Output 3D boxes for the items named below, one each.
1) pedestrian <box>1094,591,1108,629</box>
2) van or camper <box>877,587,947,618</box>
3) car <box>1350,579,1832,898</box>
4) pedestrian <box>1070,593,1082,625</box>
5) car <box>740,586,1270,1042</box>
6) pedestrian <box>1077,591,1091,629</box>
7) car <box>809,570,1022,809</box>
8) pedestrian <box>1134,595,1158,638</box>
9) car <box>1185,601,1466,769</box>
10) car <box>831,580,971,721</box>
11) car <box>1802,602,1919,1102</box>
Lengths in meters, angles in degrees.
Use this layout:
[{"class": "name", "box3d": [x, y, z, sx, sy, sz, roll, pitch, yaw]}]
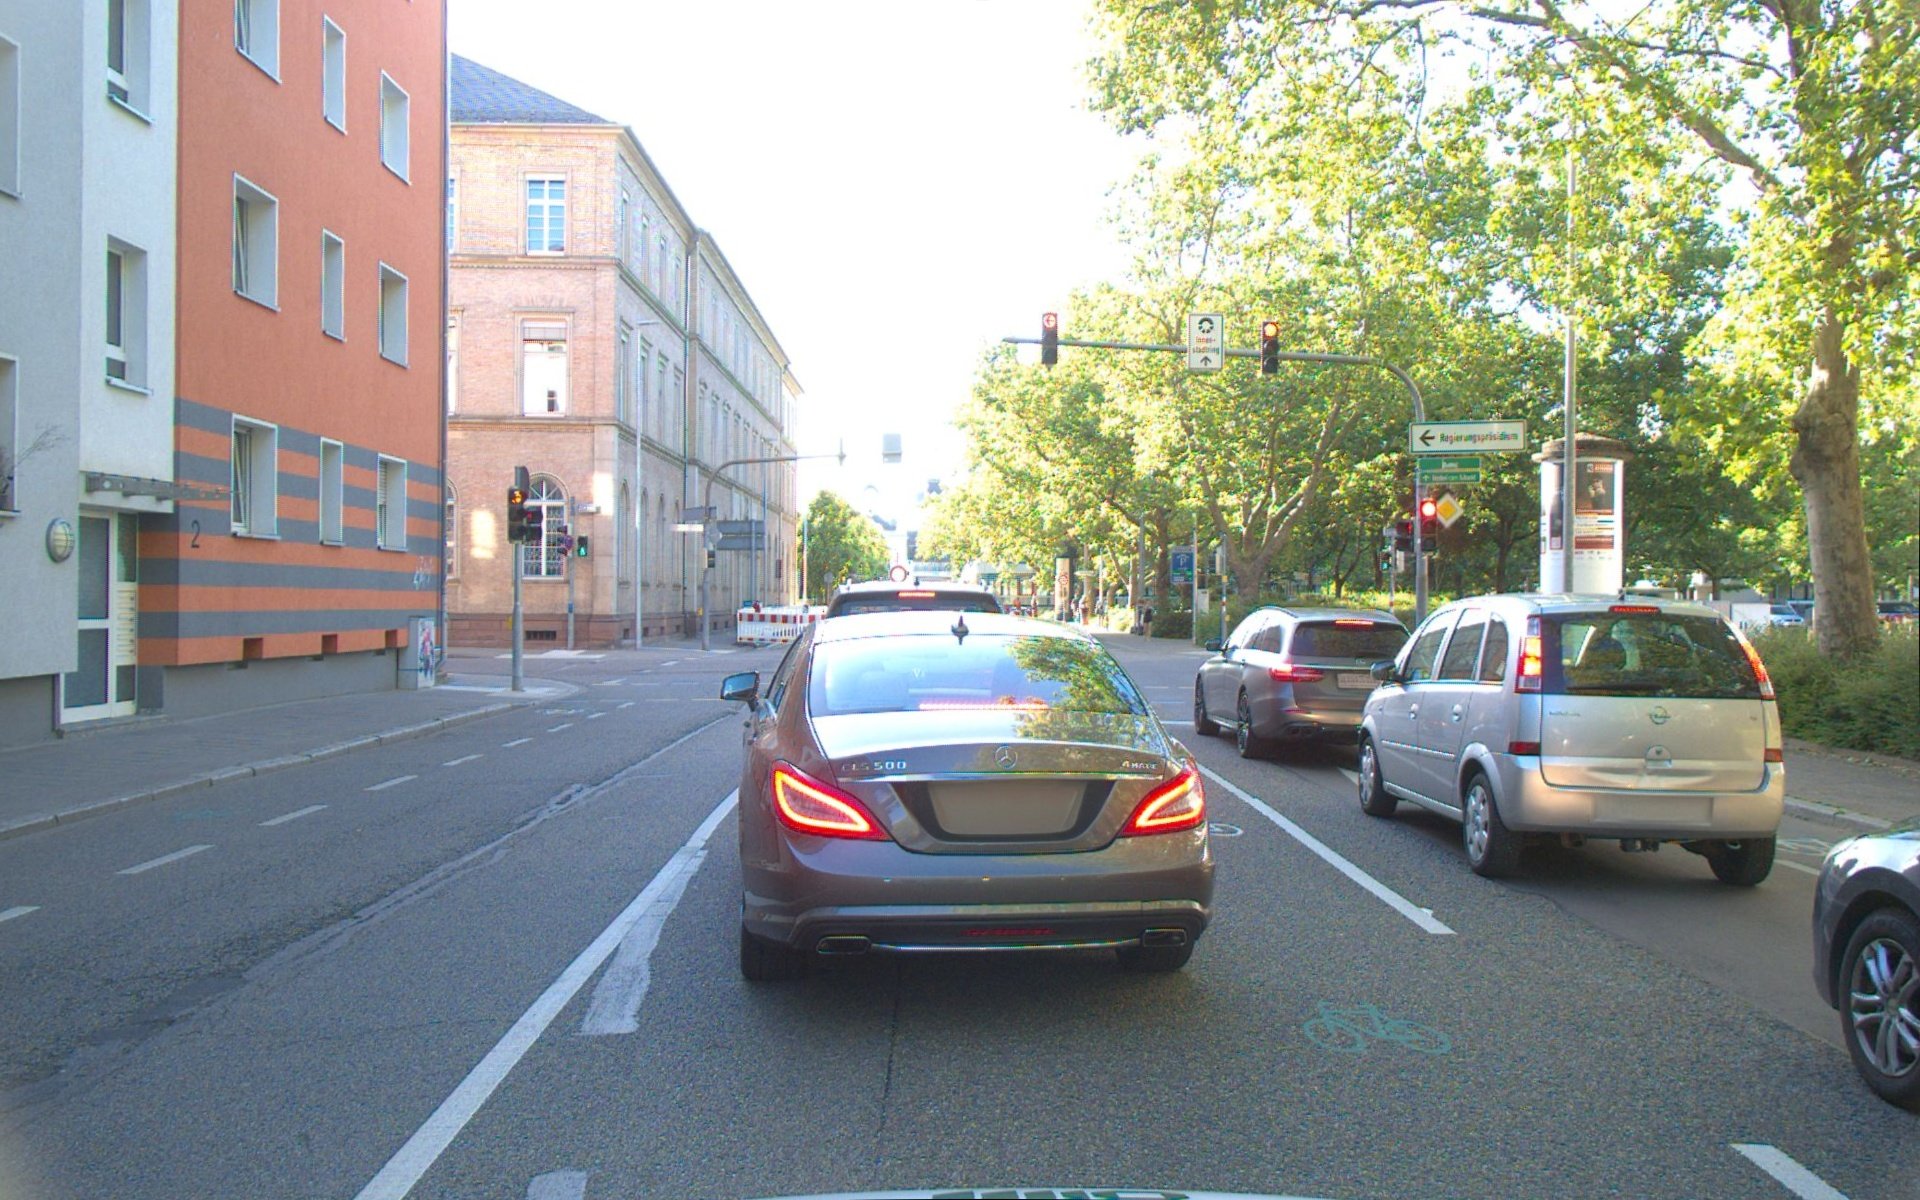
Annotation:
[{"class": "pedestrian", "box3d": [6.992, 0.481, 82.174, 0.591, 1.853, 0.651, 1, 0, -1]}, {"class": "van or camper", "box3d": [-3.203, 0.144, 110.333, 4.510, 1.975, 1.989, 1, 0, 41]}, {"class": "car", "box3d": [3.812, 0.729, 10.727, 1.666, 1.631, 3.860, 2, 0, 1]}, {"class": "pedestrian", "box3d": [6.743, 0.533, 95.772, 0.599, 1.853, 0.932, 1, 0, -1]}, {"class": "car", "box3d": [-0.116, 0.698, 7.665, 1.769, 1.482, 4.343, 1, 0, -8]}, {"class": "pedestrian", "box3d": [6.156, 0.508, 82.209, 0.591, 1.853, 0.651, 1, 0, -1]}, {"class": "car", "box3d": [-0.406, 0.630, 13.649, 1.487, 1.675, 3.878, 1, 0, -3]}, {"class": "pedestrian", "box3d": [7.172, 0.646, 63.864, 0.813, 1.634, 0.651, 1, 0, -1]}, {"class": "car", "box3d": [3.694, 0.788, 17.591, 1.874, 1.490, 4.668, 1, 0, -1]}, {"class": "car", "box3d": [-0.783, 0.645, 23.223, 1.783, 1.793, 3.999, 0, 0, -1]}, {"class": "car", "box3d": [3.748, 0.794, 3.712, 1.611, 1.508, 3.975, 2, 0, -1]}]
